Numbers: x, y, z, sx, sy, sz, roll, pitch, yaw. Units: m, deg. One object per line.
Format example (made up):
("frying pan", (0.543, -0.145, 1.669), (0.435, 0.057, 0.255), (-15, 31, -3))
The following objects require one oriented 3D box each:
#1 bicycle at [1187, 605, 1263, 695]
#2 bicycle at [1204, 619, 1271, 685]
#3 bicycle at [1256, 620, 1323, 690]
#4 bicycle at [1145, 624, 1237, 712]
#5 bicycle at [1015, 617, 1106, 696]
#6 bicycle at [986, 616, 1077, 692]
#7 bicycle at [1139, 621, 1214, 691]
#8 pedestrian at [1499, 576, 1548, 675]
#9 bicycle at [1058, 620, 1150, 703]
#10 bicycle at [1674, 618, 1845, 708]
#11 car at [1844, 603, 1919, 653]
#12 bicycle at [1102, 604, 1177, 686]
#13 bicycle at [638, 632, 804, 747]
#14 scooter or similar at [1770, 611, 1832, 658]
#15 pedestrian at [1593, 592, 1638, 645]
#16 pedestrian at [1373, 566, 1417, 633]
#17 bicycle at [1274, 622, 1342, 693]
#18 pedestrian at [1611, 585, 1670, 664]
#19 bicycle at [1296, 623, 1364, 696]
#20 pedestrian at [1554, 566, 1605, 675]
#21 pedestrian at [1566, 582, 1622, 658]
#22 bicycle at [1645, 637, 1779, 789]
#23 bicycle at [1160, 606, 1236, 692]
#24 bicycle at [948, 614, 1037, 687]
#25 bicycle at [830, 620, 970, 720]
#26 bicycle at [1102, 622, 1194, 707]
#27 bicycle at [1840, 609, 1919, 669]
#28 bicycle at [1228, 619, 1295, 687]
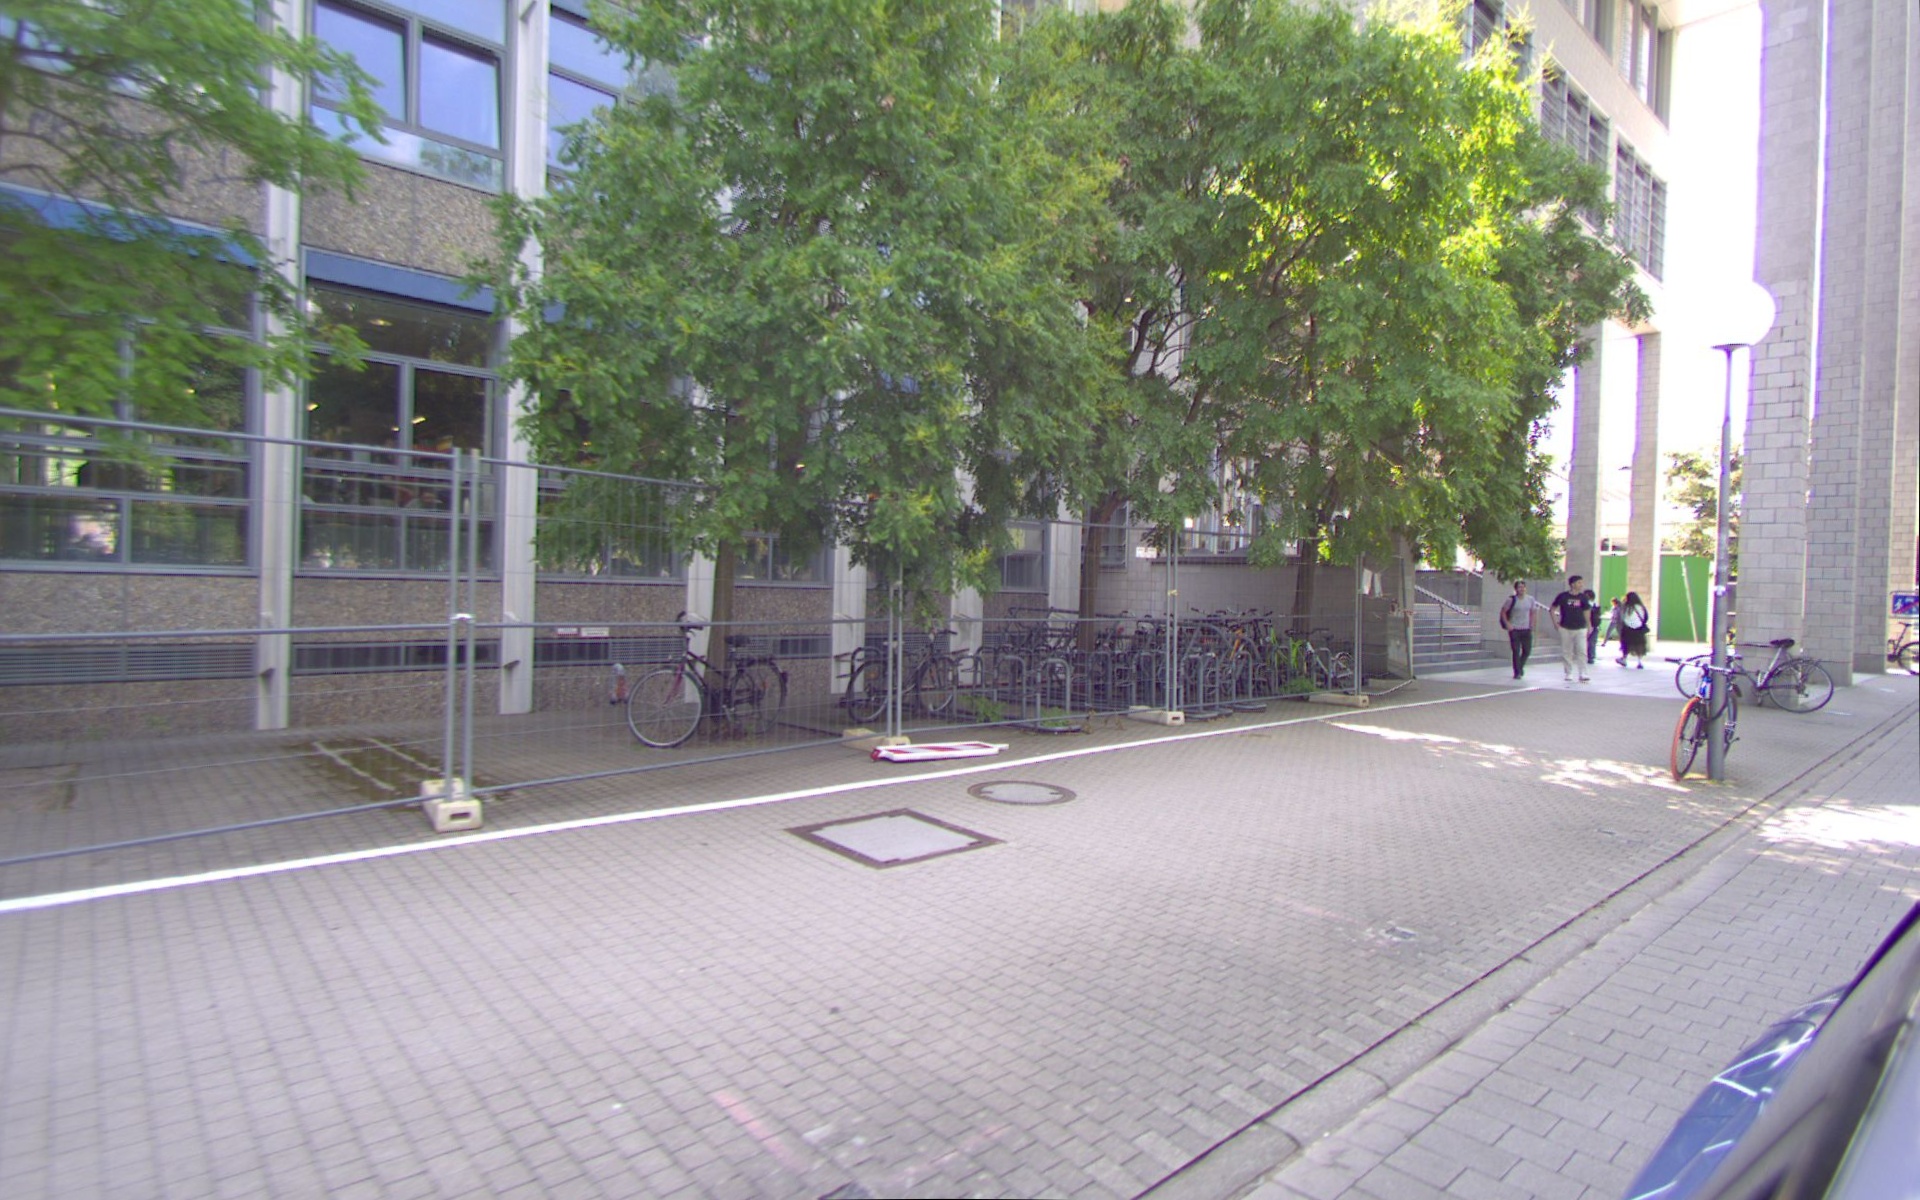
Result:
("bicycle", (3.542, 0.640, 13.474), (0.290, 1.142, 1.425), (1, 1, 44))
("bicycle", (4.133, 0.747, 15.042), (0.290, 0.917, 1.425), (1, 1, 44))
("bicycle", (4.700, 0.762, 14.381), (0.290, 0.917, 1.425), (1, 1, 44))
("bicycle", (2.624, 0.742, 11.416), (0.290, 0.917, 1.425), (1, 1, 44))
("bicycle", (1.268, 0.682, 12.631), (0.290, 0.917, 1.425), (1, 1, 44))
("bicycle", (0.937, 0.673, 13.015), (0.290, 0.917, 1.425), (1, 1, 44))
("bicycle", (3.008, 0.757, 13.994), (0.290, 0.898, 1.425), (1, 1, 44))
("pedestrian", (9.981, 0.436, 17.919), (0.697, 1.676, 0.873), (2, 0, 30))
("bicycle", (1.743, 0.713, 12.150), (0.290, 0.917, 1.425), (1, 1, 44))
("bicycle", (10.699, 0.812, 13.590), (1.739, 1.052, 0.442), (3, 0, 44))
("car", (31.346, 0.921, 32.885), (1.625, 1.494, 3.773), (-2, 3, -41))
("bicycle", (2.586, 0.619, 14.478), (0.290, 1.113, 1.425), (1, 1, 44))
("bicycle", (-2.121, 0.767, 9.158), (0.290, 0.917, 1.595), (1, 1, 39))
("scooter or similar", (21.911, 0.895, 26.389), (0.436, 1.166, 1.158), (2, 0, -37))
("pedestrian", (20.572, 0.574, 31.770), (0.805, 1.594, 0.880), (2, 0, 2))
("pedestrian", (11.698, -0.021, 27.210), (0.633, 1.746, 0.864), (2, 0, -43))
("bicycle", (4.831, 0.772, 14.026), (0.290, 0.917, 1.425), (1, 1, 44))
("pedestrian", (14.490, 0.502, 21.574), (0.796, 1.637, 0.737), (2, 1, 16))
("bicycle", (5.046, 0.787, 13.765), (0.290, 0.917, 1.425), (1, 1, 44))
("pedestrian", (10.703, 0.342, 17.508), (0.697, 1.826, 0.873), (2, 0, 30))
("pedestrian", (14.474, 0.439, 23.139), (0.662, 1.691, 0.899), (2, 0, 0))
("bicycle", (6.247, 0.874, 8.370), (1.827, 1.052, 0.538), (0, 1, -43))
("bicycle", (3.247, 0.640, 13.736), (0.290, 1.108, 1.425), (1, 1, 44))
("bicycle", (0.459, 0.652, 13.584), (0.290, 0.917, 1.425), (1, 1, 44))
("bicycle", (-0.578, 0.681, 10.433), (0.290, 0.917, 1.779), (1, 1, 39))
("bicycle", (2.204, 0.724, 11.758), (0.290, 0.917, 1.425), (1, 1, 44))
("bicycle", (19.997, 0.844, 21.511), (1.881, 1.178, 0.595), (4, 1, 44))
("bicycle", (4.408, 0.752, 14.739), (0.290, 0.917, 1.425), (1, 1, 44))
